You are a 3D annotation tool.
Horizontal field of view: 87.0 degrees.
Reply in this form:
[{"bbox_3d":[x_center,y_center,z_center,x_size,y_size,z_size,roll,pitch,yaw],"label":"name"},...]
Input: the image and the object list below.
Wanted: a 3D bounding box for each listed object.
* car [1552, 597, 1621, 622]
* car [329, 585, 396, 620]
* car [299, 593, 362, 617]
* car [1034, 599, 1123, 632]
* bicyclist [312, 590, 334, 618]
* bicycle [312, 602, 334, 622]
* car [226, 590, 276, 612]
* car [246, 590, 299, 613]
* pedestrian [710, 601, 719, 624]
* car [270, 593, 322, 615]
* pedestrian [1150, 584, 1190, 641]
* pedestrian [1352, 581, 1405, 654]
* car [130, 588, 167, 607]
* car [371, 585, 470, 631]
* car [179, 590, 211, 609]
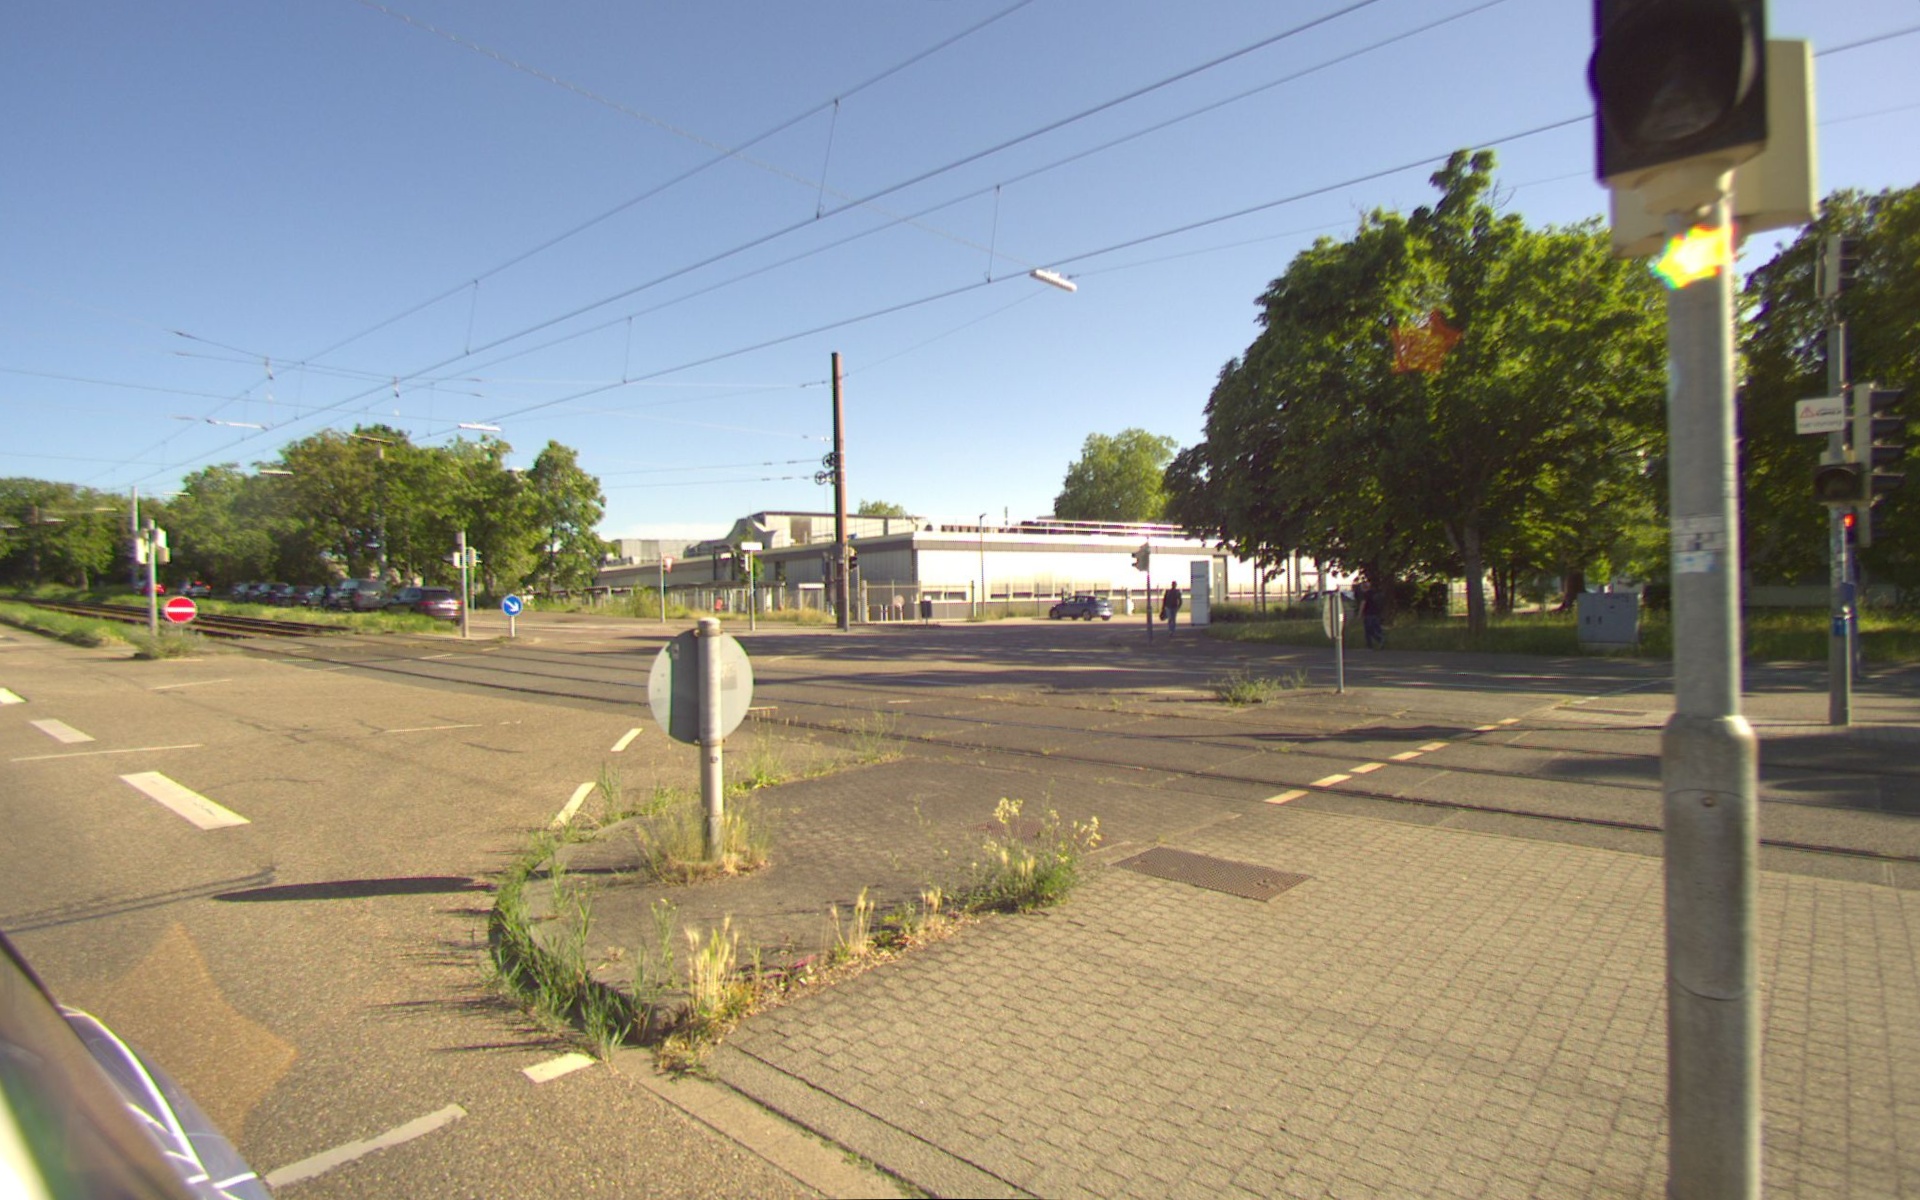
[{"bbox_3d":[42.575,0.598,68.852,1.773,1.601,3.624,-1,1,-40],"label":"car"},{"bbox_3d":[-35.258,0.148,59.690,4.686,1.948,2.177,0,1,44],"label":"car"},{"bbox_3d":[-40.186,0.307,64.566,4.614,1.390,2.103,0,1,41],"label":"car"},{"bbox_3d":[6.838,0.856,59.050,2.138,1.762,5.305,-2,1,-36],"label":"car"},{"bbox_3d":[-37.524,0.240,59.627,1.237,1.605,0.793,0,1,43],"label":"bicyclist"},{"bbox_3d":[-37.590,0.710,59.707,1.781,1.110,0.689,0,1,43],"label":"bicycle"},{"bbox_3d":[-53.908,0.049,76.931,4.559,1.575,2.102,0,1,42],"label":"car"},{"bbox_3d":[-49.182,0.091,72.340,4.616,1.599,2.102,0,1,43],"label":"car"},{"bbox_3d":[-14.485,0.745,59.753,0.435,1.310,0.441,-1,0,0],"label":"pedestrian"},{"bbox_3d":[-45.070,0.263,68.692,4.488,1.437,1.934,0,1,43],"label":"car"},{"bbox_3d":[6.791,0.401,32.756,0.937,1.801,0.823,-1,0,-34],"label":"pedestrian"},{"bbox_3d":[10.275,0.430,24.881,0.748,1.747,0.940,-1,0,-19],"label":"pedestrian"},{"bbox_3d":[-79.598,-0.240,99.281,4.799,1.746,2.289,0,1,45],"label":"car"},{"bbox_3d":[-22.597,0.392,42.337,4.789,1.824,2.072,-1,-2,41],"label":"car"},{"bbox_3d":[-66.416,-0.019,87.859,1.833,1.569,4.162,-2,1,-42],"label":"car"}]
